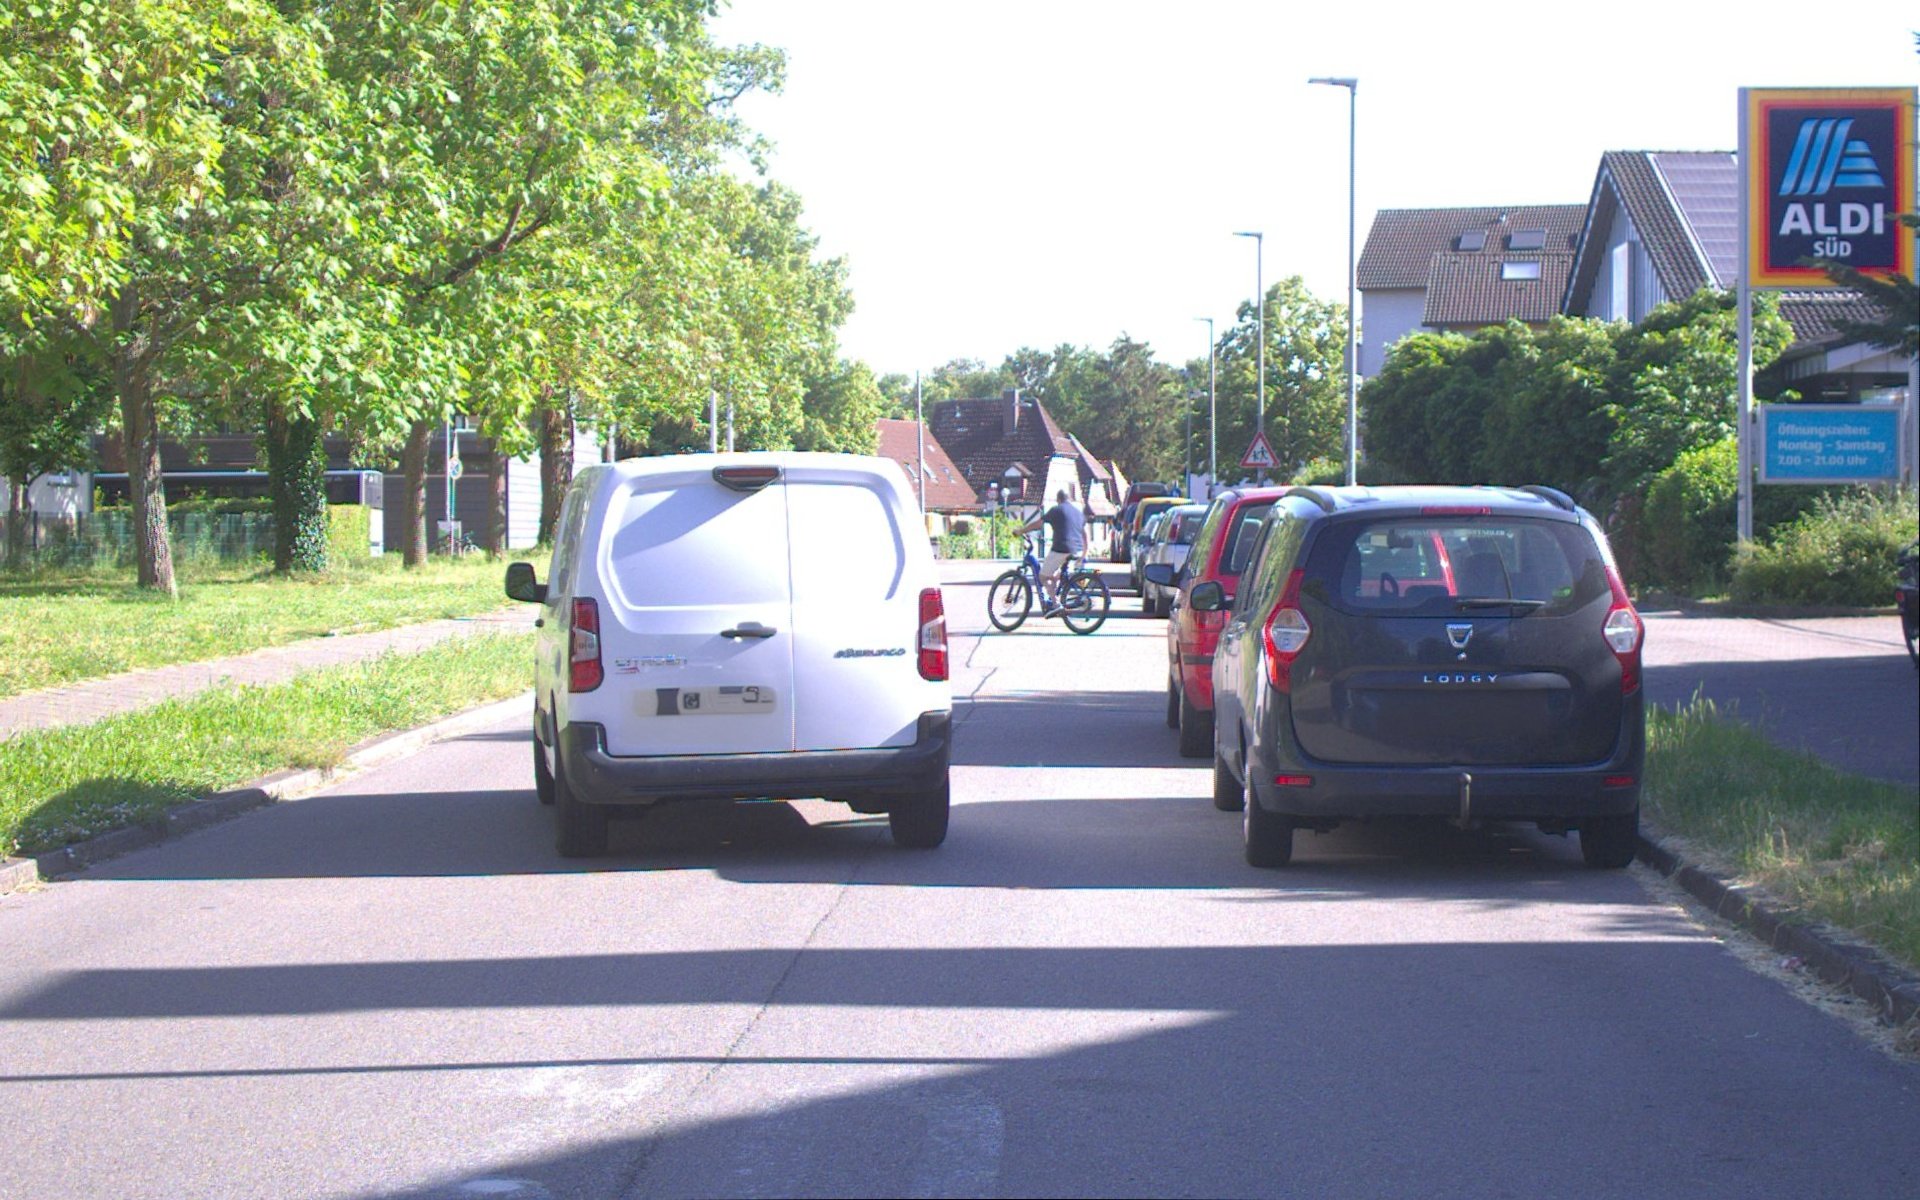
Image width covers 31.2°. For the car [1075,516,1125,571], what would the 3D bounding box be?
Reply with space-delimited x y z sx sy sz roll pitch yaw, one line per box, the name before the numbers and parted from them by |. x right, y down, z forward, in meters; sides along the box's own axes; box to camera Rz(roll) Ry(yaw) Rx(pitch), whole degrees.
car | 5.341 -2.147 131.730 1.804 2.061 4.000 0 0 1

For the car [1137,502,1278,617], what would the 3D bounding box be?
car | 3.536 -0.599 49.727 1.679 1.594 4.028 0 1 -1

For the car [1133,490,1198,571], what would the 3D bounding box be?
car | 6.710 -2.249 112.573 1.866 2.553 4.767 1 1 1

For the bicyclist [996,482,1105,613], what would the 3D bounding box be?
bicyclist | 1.102 -0.638 41.948 0.966 1.579 0.906 1 1 43

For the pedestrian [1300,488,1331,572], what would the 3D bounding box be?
pedestrian | 6.892 -1.357 66.652 0.567 1.631 0.546 0 2 8

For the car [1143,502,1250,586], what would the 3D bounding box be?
car | 4.179 -1.030 61.302 1.807 1.438 4.363 0 2 3

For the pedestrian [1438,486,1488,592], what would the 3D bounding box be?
pedestrian | 8.505 -1.040 58.141 0.799 1.775 0.808 0 2 11

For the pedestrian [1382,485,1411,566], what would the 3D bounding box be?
pedestrian | 8.849 -1.519 69.705 0.567 1.631 0.546 0 2 8

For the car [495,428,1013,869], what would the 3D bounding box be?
car | -1.157 0.142 16.927 1.993 1.875 4.290 -1 2 -11

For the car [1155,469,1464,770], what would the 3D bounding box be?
car | 2.236 0.052 22.985 1.840 1.799 4.653 0 2 3

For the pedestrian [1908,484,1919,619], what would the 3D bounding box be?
pedestrian | 11.928 -0.596 41.767 0.692 1.626 0.776 0 2 24

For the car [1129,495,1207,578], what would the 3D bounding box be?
car | 4.755 -1.455 78.731 1.724 1.831 4.000 0 1 3

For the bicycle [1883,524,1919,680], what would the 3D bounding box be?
bicycle | 7.930 0.000 27.861 0.721 1.216 1.894 -2 0 19

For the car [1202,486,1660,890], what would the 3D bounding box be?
car | 2.083 0.300 16.265 1.725 1.650 4.353 0 2 2

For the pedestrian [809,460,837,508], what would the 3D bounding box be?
pedestrian | -4.257 -3.608 107.050 0.510 1.441 0.638 4 2 36

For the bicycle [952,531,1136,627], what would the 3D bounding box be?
bicycle | 1.013 -0.252 41.927 2.278 1.135 0.787 0 1 43
